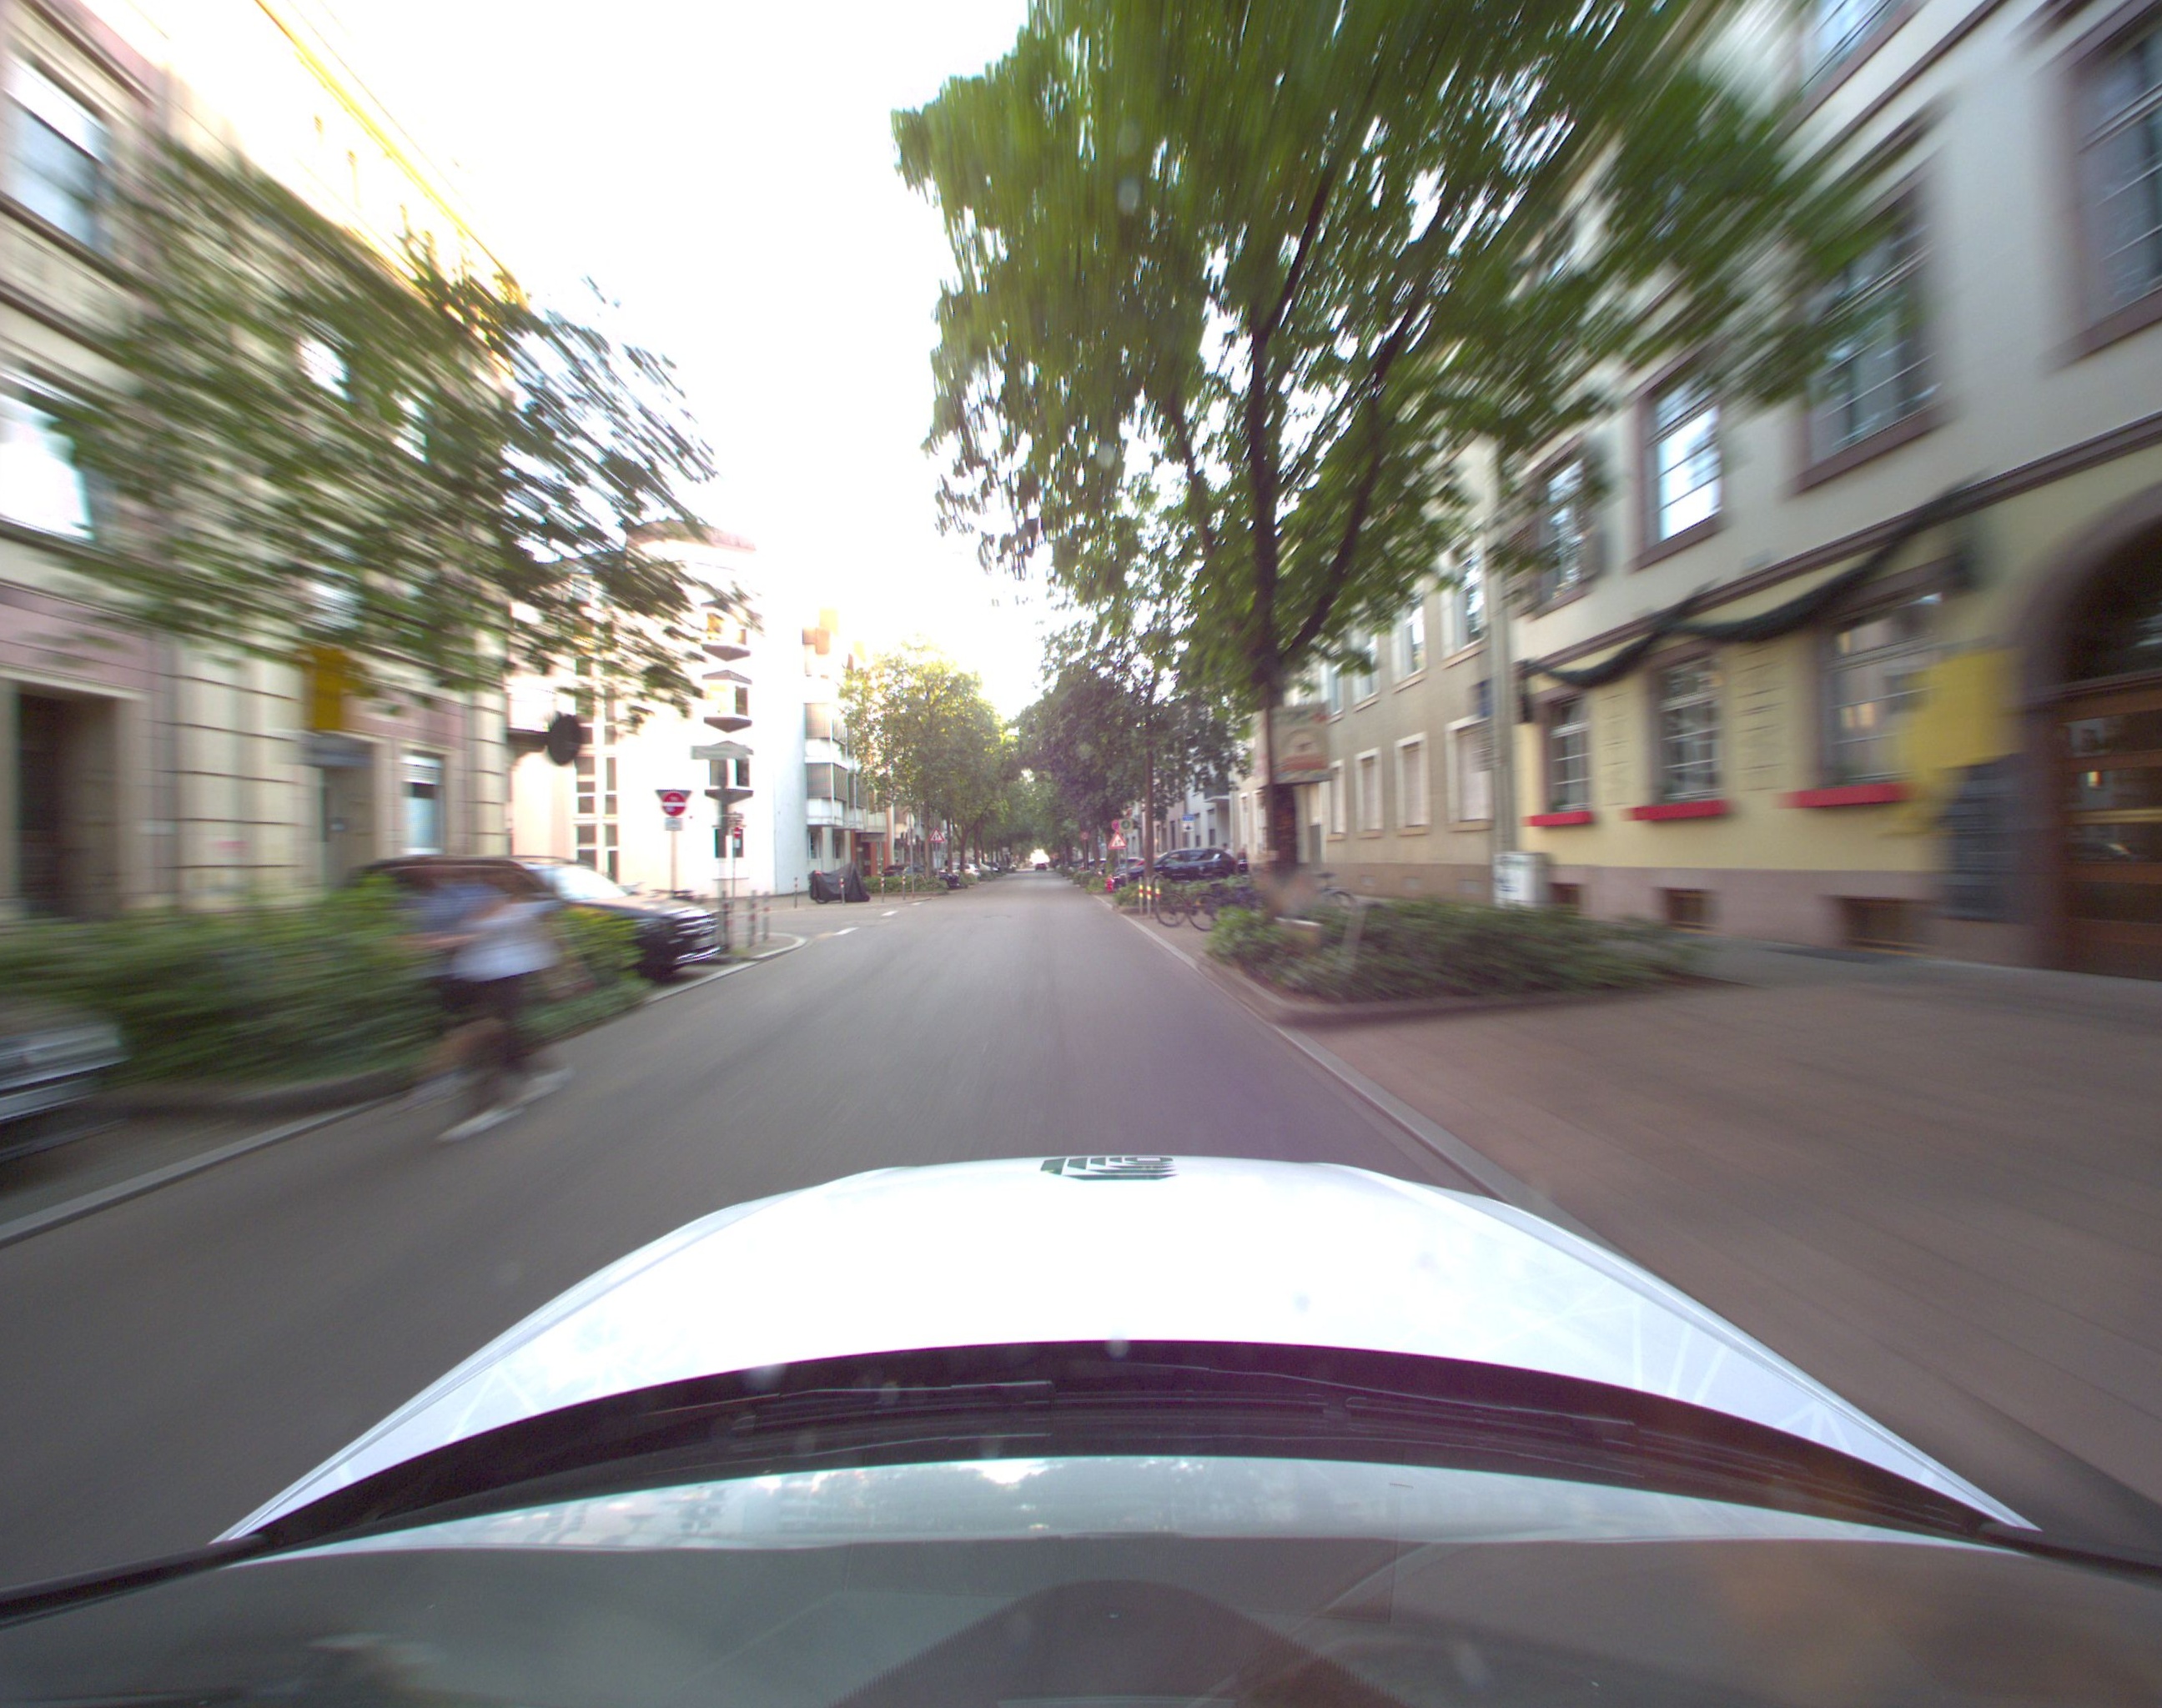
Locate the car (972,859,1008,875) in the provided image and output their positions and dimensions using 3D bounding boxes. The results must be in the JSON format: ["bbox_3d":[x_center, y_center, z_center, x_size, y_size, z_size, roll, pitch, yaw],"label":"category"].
[{"bbox_3d":[-12.714,1.770,114.371,4.752,1.984,1.960,-3,-1,-4],"label":"car"}]

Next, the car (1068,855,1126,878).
[{"bbox_3d":[1.268,1.004,67.425,4.705,1.710,1.948,-1,0,-2],"label":"car"}]

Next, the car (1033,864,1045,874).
[{"bbox_3d":[-7.014,2.524,137.038,1.952,1.565,4.277,-3,-1,-3],"label":"car"}]

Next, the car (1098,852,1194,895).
[{"bbox_3d":[2.519,0.749,32.221,3.478,1.452,1.896,-3,0,-5],"label":"car"}]

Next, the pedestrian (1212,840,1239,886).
[{"bbox_3d":[5.577,0.338,31.487,0.694,1.737,0.667,-2,-1,-34],"label":"pedestrian"}]

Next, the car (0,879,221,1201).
[{"bbox_3d":[-6.872,0.882,3.742,3.685,1.458,1.870,0,0,-4],"label":"car"}]

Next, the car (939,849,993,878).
[{"bbox_3d":[-10.583,0.863,75.169,4.672,2.478,1.997,-1,-1,-4],"label":"car"}]

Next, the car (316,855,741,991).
[{"bbox_3d":[-7.221,0.854,11.048,4.415,1.651,1.871,0,0,-3],"label":"car"}]

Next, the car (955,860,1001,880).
[{"bbox_3d":[-11.058,1.674,87.581,4.672,1.854,1.960,-3,-1,-4],"label":"car"}]

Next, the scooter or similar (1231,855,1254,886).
[{"bbox_3d":[6.303,0.644,31.830,0.653,1.153,0.830,-2,0,-2],"label":"scooter or similar"}]

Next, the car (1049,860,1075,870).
[{"bbox_3d":[-3.238,1.897,138.635,4.259,1.565,1.960,-3,-1,-4],"label":"car"}]

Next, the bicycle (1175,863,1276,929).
[{"bbox_3d":[2.817,0.806,15.952,1.826,1.178,0.600,-3,0,-4],"label":"bicycle"}]

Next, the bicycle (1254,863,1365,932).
[{"bbox_3d":[4.121,0.765,14.738,1.794,1.128,0.662,-3,0,-9],"label":"bicycle"}]

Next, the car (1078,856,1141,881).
[{"bbox_3d":[1.839,0.940,53.536,3.872,1.440,1.843,-3,0,-7],"label":"car"}]

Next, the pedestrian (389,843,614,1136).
[{"bbox_3d":[-3.622,0.787,5.178,0.793,1.670,0.830,-2,0,-4],"label":"pedestrian"}]

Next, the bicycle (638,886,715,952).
[{"bbox_3d":[-7.013,1.096,14.210,0.521,1.059,1.858,2,-2,-5],"label":"bicycle"}]

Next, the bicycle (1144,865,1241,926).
[{"bbox_3d":[2.348,0.855,17.189,1.839,1.135,0.741,-3,0,-14],"label":"bicycle"}]

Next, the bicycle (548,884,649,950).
[{"bbox_3d":[-8.336,1.061,14.174,0.667,1.063,1.859,1,-2,-3],"label":"bicycle"}]

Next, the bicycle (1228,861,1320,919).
[{"bbox_3d":[4.171,0.760,17.618,1.796,1.143,0.666,-3,0,-12],"label":"bicycle"}]

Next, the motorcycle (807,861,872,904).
[{"bbox_3d":[-8.968,1.029,30.231,2.217,1.481,0.853,-1,0,-22],"label":"motorcycle"}]

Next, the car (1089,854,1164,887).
[{"bbox_3d":[2.262,0.802,40.788,3.478,1.452,1.896,-3,0,-5],"label":"car"}]

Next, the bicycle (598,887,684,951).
[{"bbox_3d":[-7.604,1.102,14.177,0.521,1.019,1.859,1,-2,-3],"label":"bicycle"}]

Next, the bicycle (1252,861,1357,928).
[{"bbox_3d":[4.270,0.753,15.566,1.795,1.143,0.649,-3,0,-12],"label":"bicycle"}]

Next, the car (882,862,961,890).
[{"bbox_3d":[-8.968,1.214,45.984,4.119,1.486,1.926,-1,-1,-4],"label":"car"}]

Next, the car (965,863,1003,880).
[{"bbox_3d":[-11.302,2.047,95.290,4.194,1.635,1.960,-3,-1,-4],"label":"car"}]

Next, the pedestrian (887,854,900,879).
[{"bbox_3d":[-13.182,0.904,57.150,0.701,1.728,0.904,-1,-1,-3],"label":"pedestrian"}]

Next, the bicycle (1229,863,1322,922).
[{"bbox_3d":[4.030,0.783,16.923,1.793,1.107,0.499,-3,0,-9],"label":"bicycle"}]

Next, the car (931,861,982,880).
[{"bbox_3d":[-10.188,1.347,66.854,3.860,1.486,1.756,-1,-1,-2],"label":"car"}]

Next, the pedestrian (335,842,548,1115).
[{"bbox_3d":[-4.437,0.810,5.726,0.793,1.737,0.830,-2,0,-4],"label":"pedestrian"}]

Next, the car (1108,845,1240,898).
[{"bbox_3d":[3.245,0.604,28.970,4.414,1.656,1.898,-2,0,-2],"label":"car"}]

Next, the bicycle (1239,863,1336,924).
[{"bbox_3d":[4.158,0.776,16.411,1.793,1.107,0.499,-3,0,-9],"label":"bicycle"}]

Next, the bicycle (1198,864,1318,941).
[{"bbox_3d":[2.967,0.799,13.755,1.826,1.178,0.672,-3,0,-4],"label":"bicycle"}]

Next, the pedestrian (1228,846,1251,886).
[{"bbox_3d":[6.277,0.454,32.251,0.653,1.536,0.830,-2,0,-2],"label":"pedestrian"}]

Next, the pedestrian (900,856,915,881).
[{"bbox_3d":[-12.055,0.993,56.572,0.697,1.757,0.743,-2,-1,21],"label":"pedestrian"}]
